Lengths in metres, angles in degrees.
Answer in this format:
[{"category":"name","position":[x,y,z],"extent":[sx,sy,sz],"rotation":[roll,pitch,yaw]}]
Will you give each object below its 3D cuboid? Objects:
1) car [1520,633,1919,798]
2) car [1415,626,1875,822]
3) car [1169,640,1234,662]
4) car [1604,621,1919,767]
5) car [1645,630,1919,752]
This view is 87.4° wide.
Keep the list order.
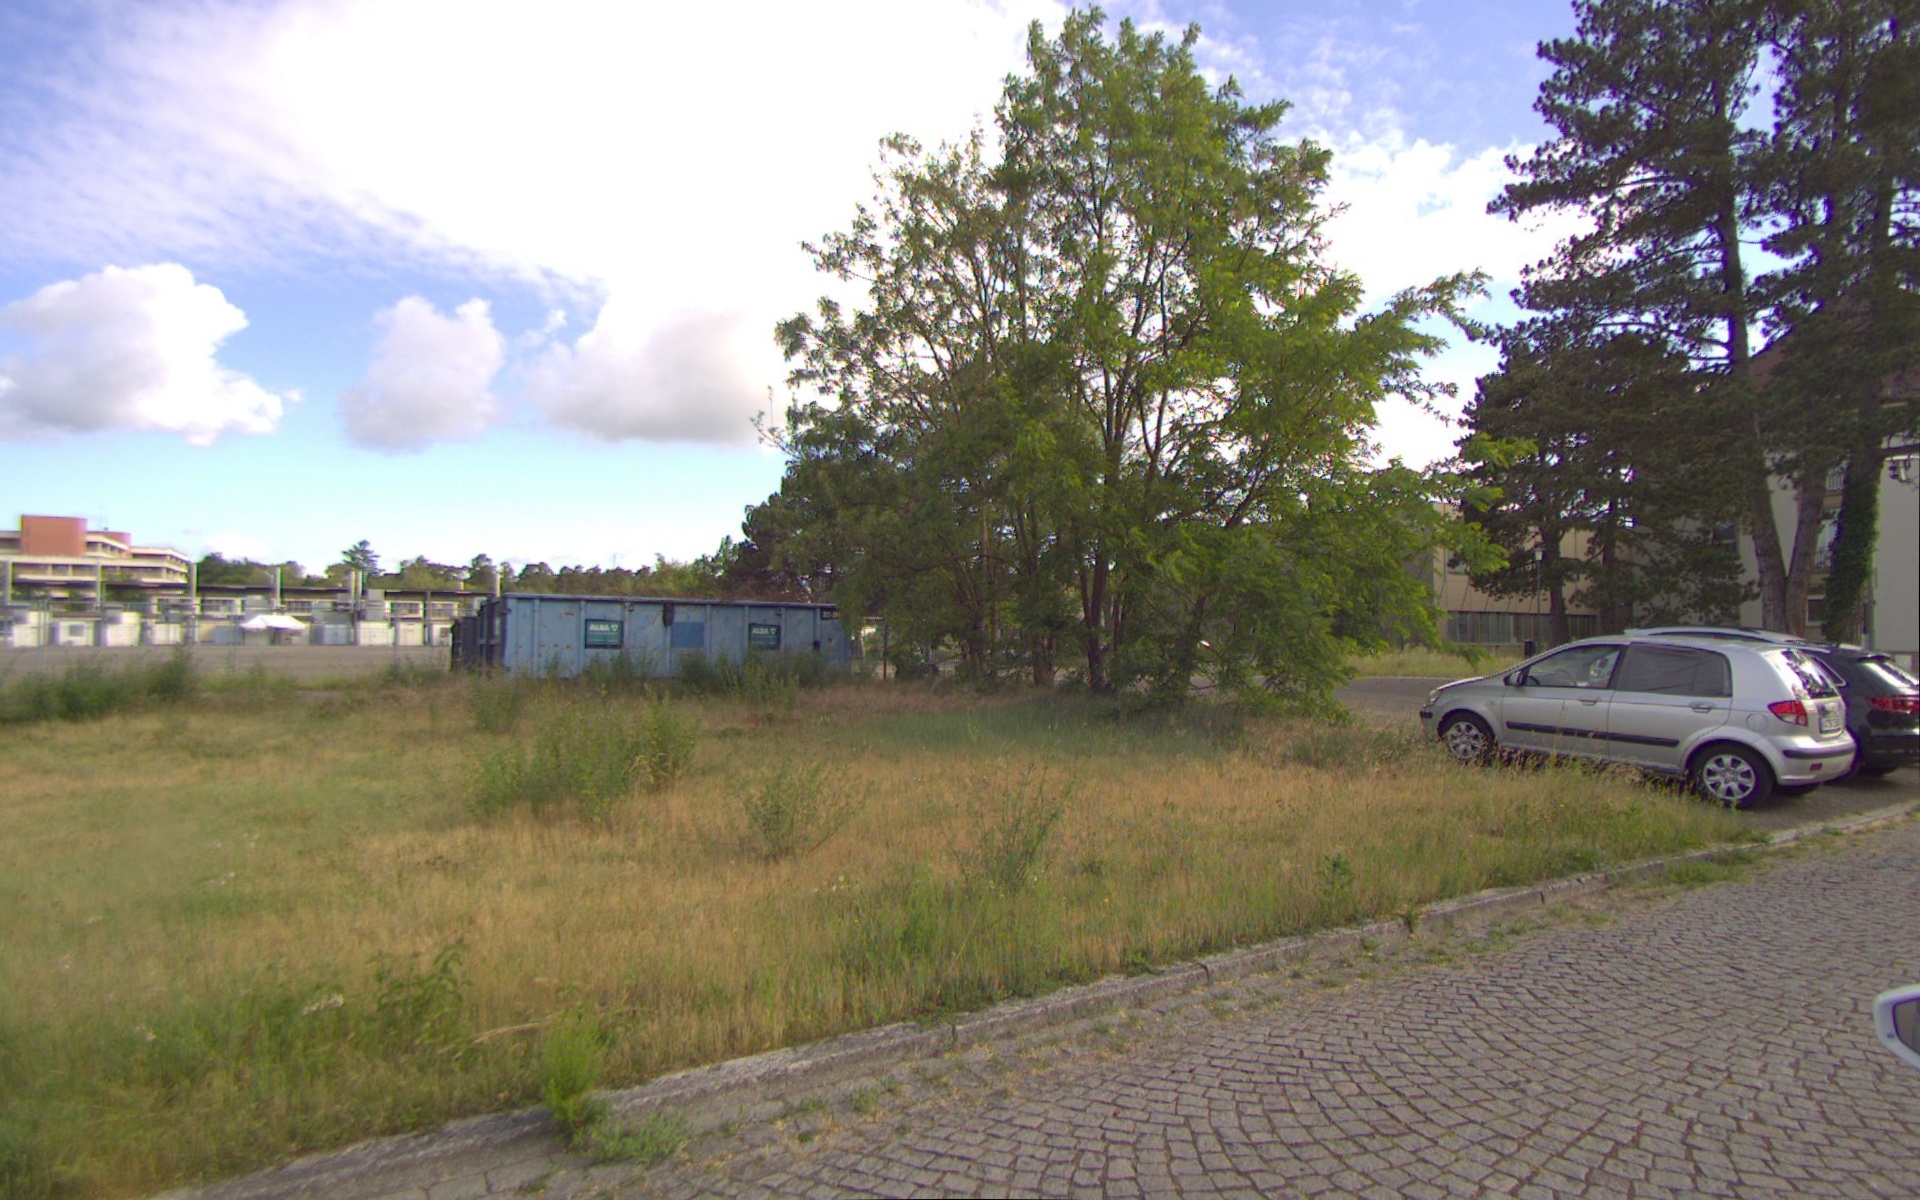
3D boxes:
[{"category":"car","position":[8.948,1.189,11.775],"extent":[1.676,1.427,3.815],"rotation":[2,0,-31]},{"category":"car","position":[6.829,1.099,10.363],"extent":[1.630,1.495,3.555],"rotation":[2,0,-33]},{"category":"car","position":[15.950,3.362,66.197],"extent":[4.080,1.433,1.751],"rotation":[1,-2,-29]},{"category":"car","position":[11.253,1.169,13.668],"extent":[1.717,1.628,3.808],"rotation":[2,0,-33]},{"category":"car","position":[13.188,1.322,15.045],"extent":[1.812,1.461,4.449],"rotation":[2,1,-34]}]
